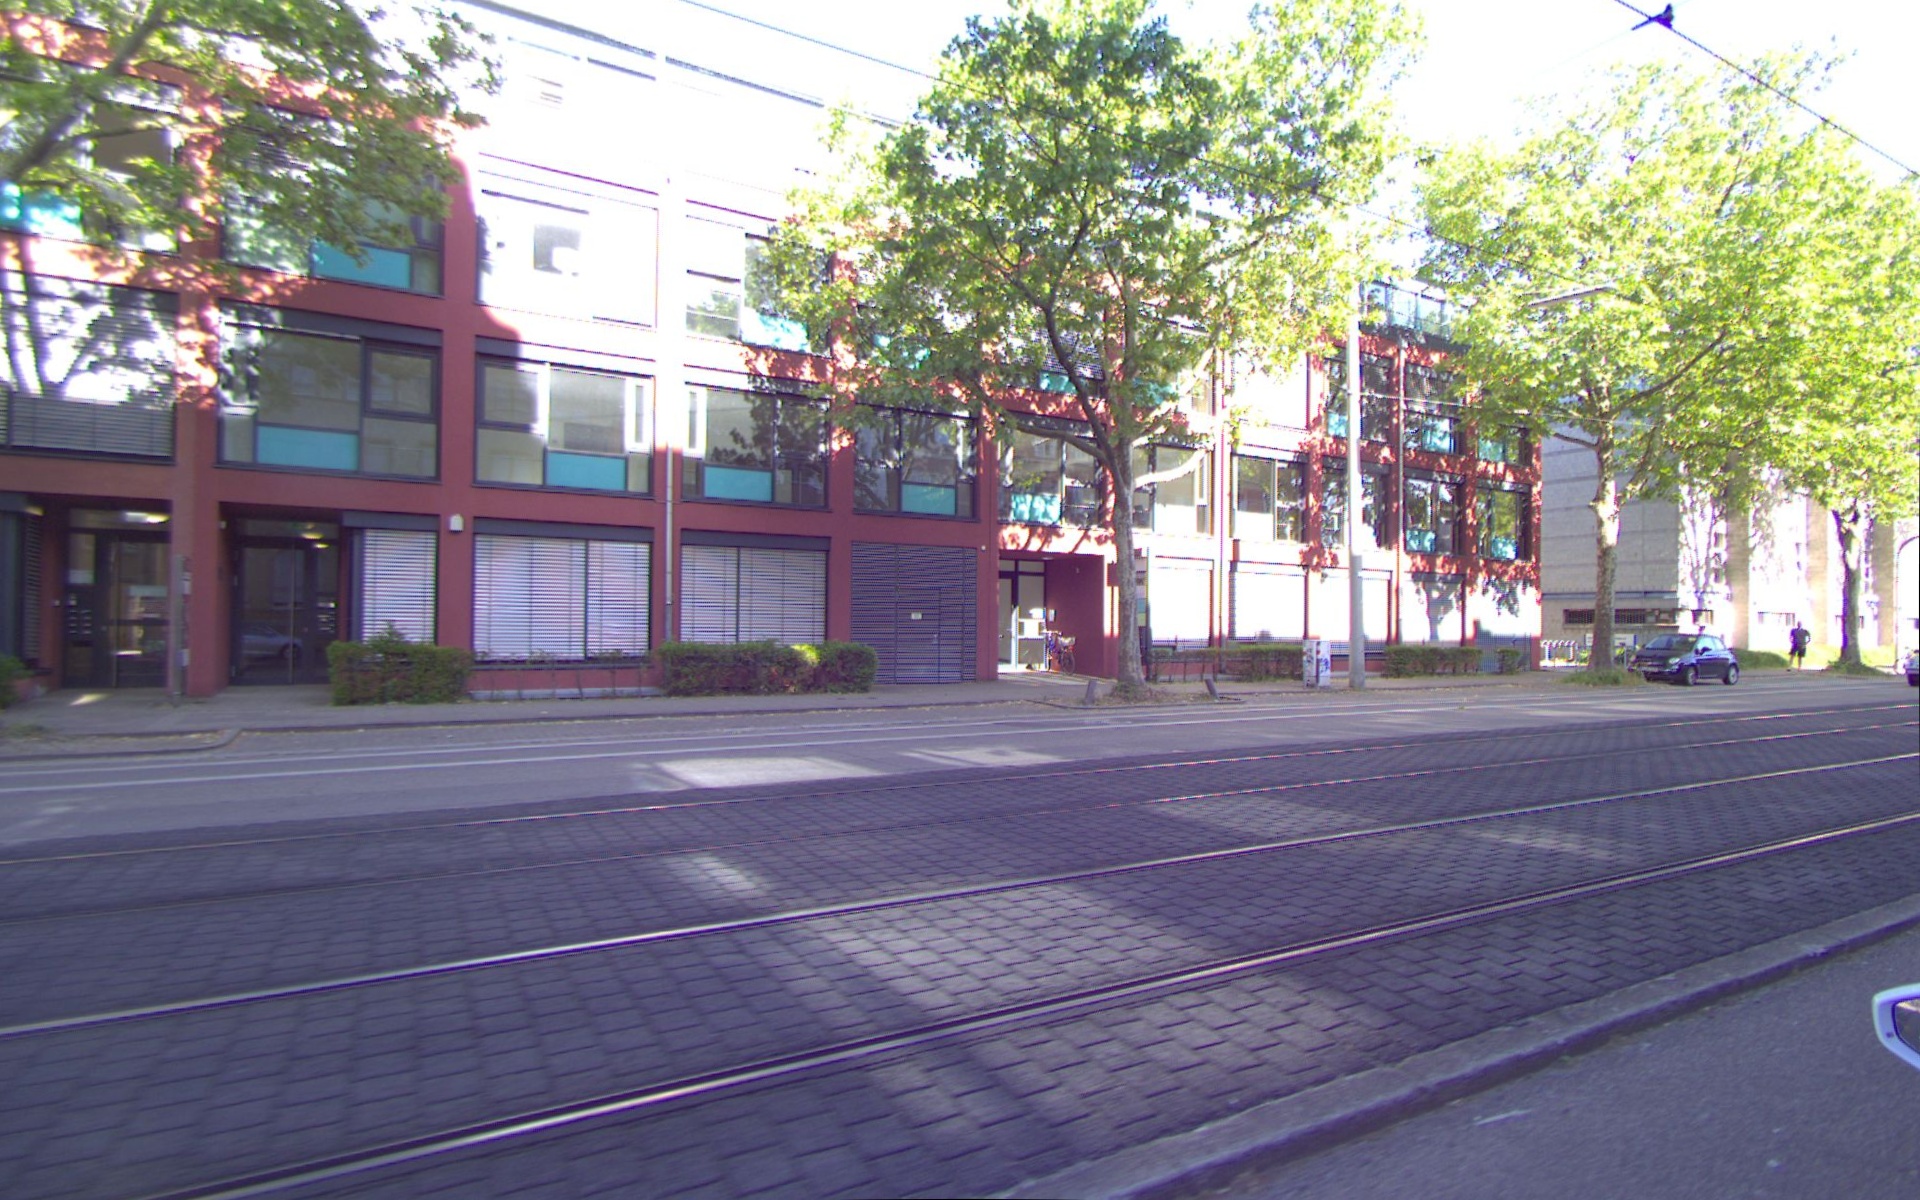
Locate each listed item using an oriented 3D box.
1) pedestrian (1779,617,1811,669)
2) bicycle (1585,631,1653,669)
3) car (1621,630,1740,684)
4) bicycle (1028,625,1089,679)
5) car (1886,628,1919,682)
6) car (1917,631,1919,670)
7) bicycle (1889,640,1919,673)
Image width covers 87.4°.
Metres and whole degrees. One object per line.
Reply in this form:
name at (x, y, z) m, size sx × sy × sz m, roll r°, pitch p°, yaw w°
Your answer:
pedestrian at (30.988, 1.579, 37.274) m, size 0.774 × 1.895 × 0.669 m, roll 2°, pitch 1°, yaw 33°
bicycle at (24.240, 1.829, 36.976) m, size 0.656 × 1.295 × 1.999 m, roll 1°, pitch 0°, yaw -29°
car at (21.167, 1.627, 29.498) m, size 3.421 × 1.473 × 1.501 m, roll 0°, pitch -1°, yaw -29°
bicycle at (2.537, 1.318, 26.083) m, size 0.610 × 1.289 × 2.055 m, roll 1°, pitch 0°, yaw -25°
car at (29.310, 1.611, 29.544) m, size 4.019 × 1.538 × 1.747 m, roll 1°, pitch -3°, yaw -27°
car at (41.808, 2.135, 41.604) m, size 4.640 × 1.593 × 2.001 m, roll 1°, pitch 1°, yaw -32°
bicycle at (36.844, 2.184, 39.184) m, size 1.638 × 1.225 × 0.577 m, roll 1°, pitch 1°, yaw -36°
